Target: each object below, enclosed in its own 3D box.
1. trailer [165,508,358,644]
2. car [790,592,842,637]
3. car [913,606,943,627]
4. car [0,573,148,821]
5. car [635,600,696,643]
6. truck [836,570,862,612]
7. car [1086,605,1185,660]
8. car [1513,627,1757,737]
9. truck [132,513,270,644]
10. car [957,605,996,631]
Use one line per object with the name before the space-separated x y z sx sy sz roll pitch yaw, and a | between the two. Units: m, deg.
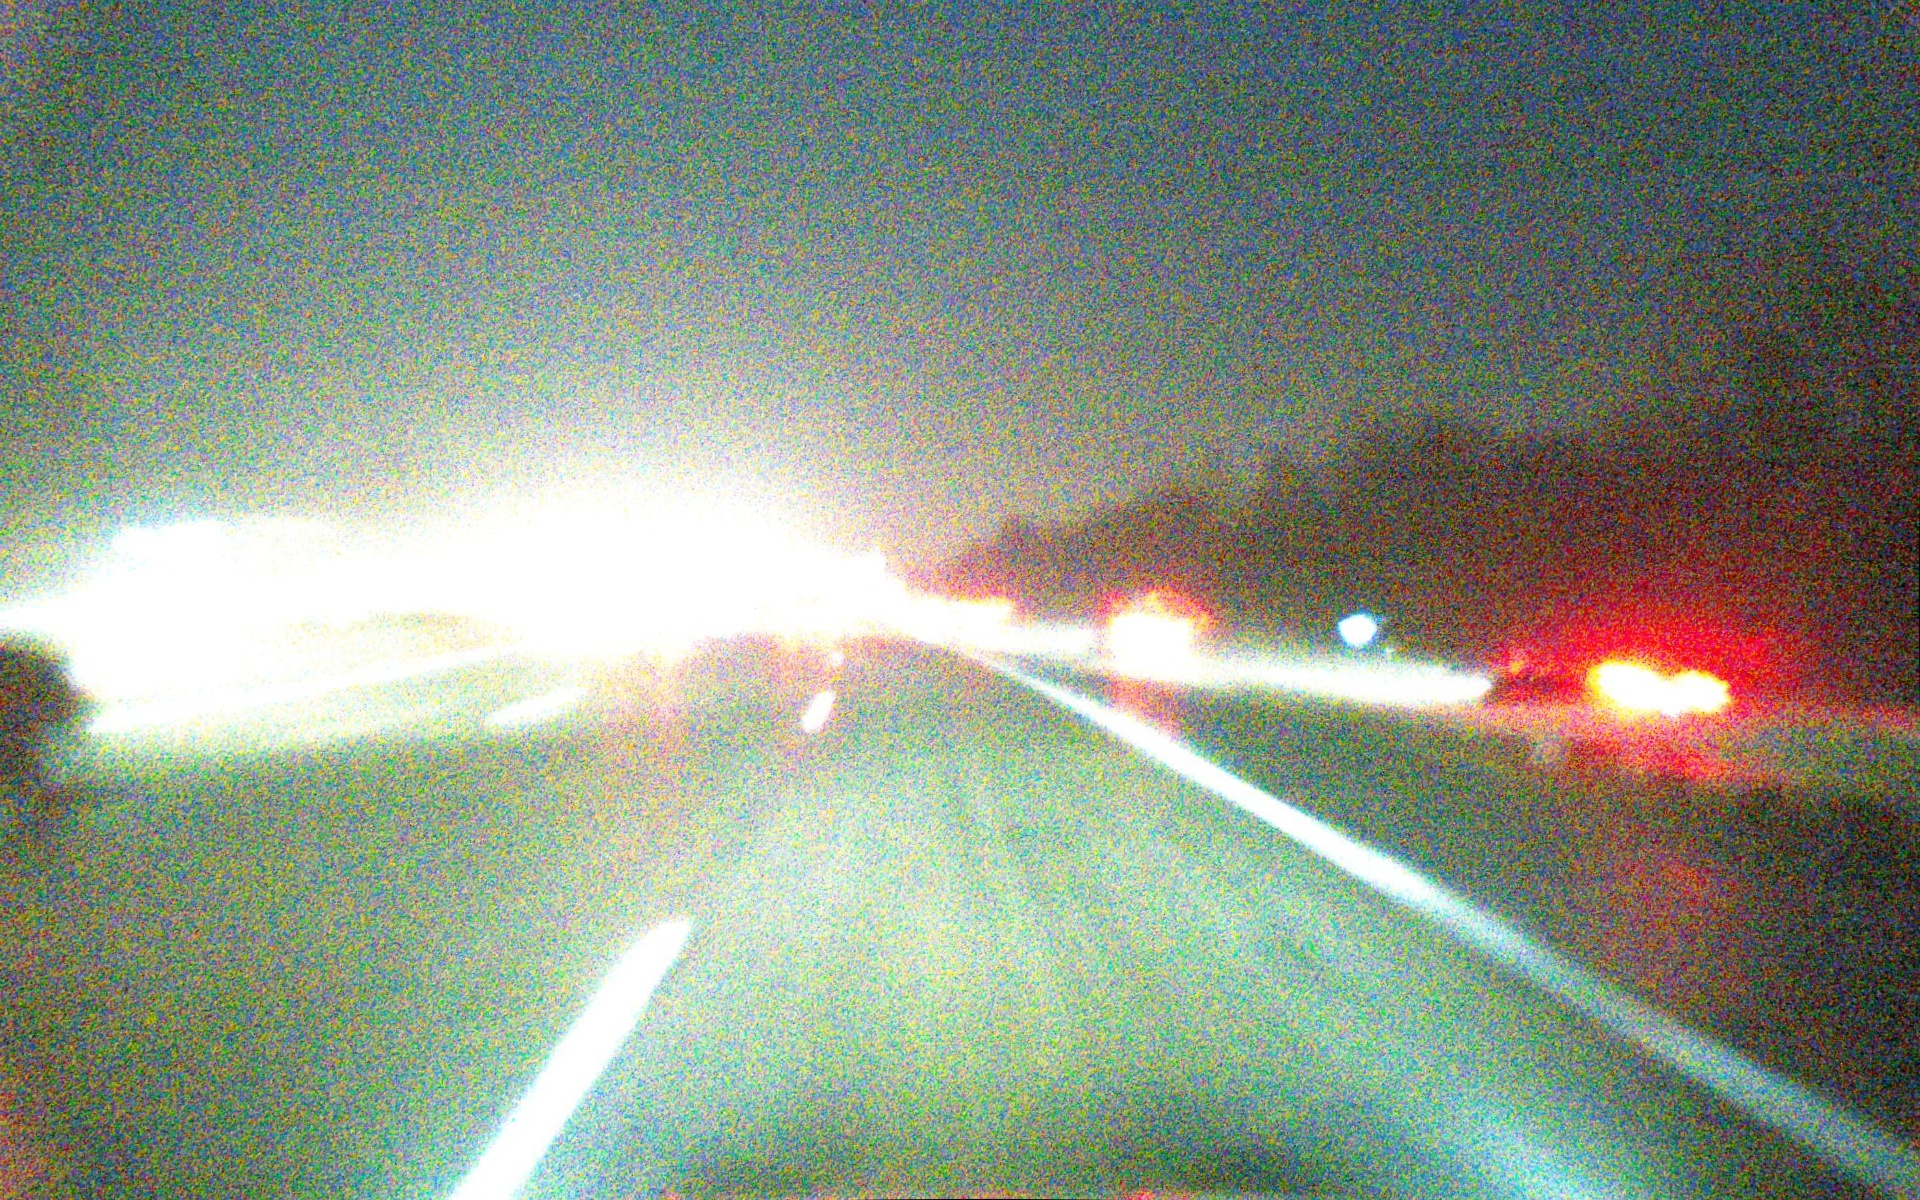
trailer | -26.478 -0.679 63.657 2.499 4.623 13.902 -1 -1 -4
car | -5.253 0.518 60.265 1.767 1.513 3.996 3 0 -5
car | -2.100 1.098 108.143 1.551 1.268 3.062 3 -1 -9
car | -6.963 0.585 10.212 1.822 1.567 4.746 2 0 -5
car | -9.299 0.699 52.407 1.630 1.258 3.755 -1 -1 -7
truck | -8.762 -0.679 131.018 1.954 3.096 6.460 -1 -1 -3
car | 5.534 0.992 52.930 2.019 1.545 5.008 3 0 -7
car | 10.709 1.248 26.621 1.954 1.474 4.333 3 0 -3
truck | -25.930 -0.653 56.765 2.488 4.228 5.636 -1 -1 -5
car | 0.849 0.939 87.230 1.551 1.268 3.063 3 0 -9
